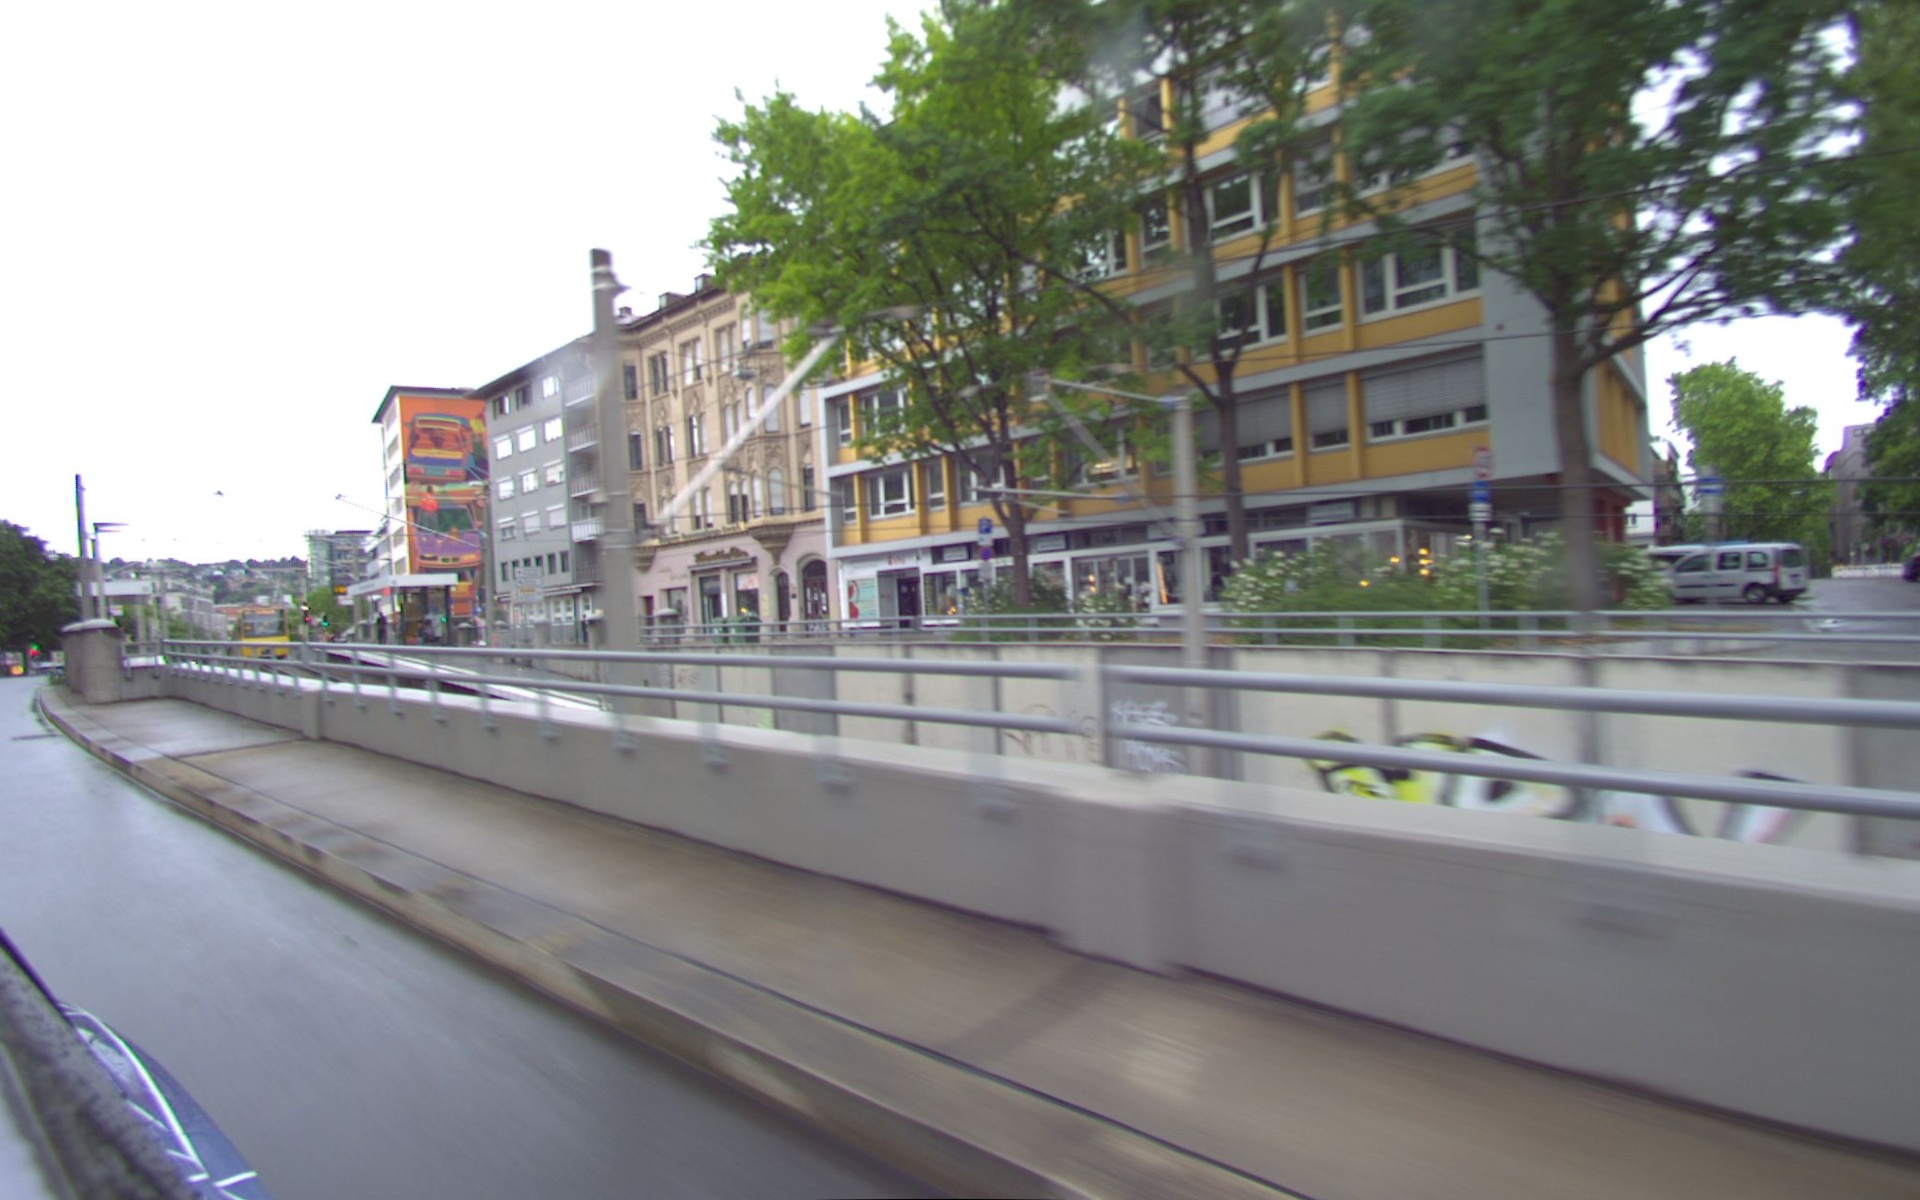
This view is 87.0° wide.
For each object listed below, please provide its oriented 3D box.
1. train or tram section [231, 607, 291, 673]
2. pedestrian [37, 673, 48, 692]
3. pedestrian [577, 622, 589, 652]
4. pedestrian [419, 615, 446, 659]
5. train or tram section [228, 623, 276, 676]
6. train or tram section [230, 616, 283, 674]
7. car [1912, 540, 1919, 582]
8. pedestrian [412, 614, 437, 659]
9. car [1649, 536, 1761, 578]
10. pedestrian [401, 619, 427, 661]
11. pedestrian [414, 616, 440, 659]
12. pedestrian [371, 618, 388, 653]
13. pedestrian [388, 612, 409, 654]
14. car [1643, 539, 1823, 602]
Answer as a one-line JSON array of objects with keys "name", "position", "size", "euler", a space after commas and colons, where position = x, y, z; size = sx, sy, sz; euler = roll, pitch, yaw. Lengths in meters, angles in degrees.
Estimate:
[{"name": "train or tram section", "position": [-46.498, 2.735, 67.206], "size": [2.743, 3.719, 9.735], "euler": [-5, -2, -37]}, {"name": "pedestrian", "position": [-81.679, 7.309, 90.073], "size": [0.551, 1.636, 0.486], "euler": [-5, -3, -34]}, {"name": "pedestrian", "position": [-21.643, 2.138, 58.081], "size": [0.415, 1.695, 0.609], "euler": [-4, -1, -29]}, {"name": "pedestrian", "position": [-20.663, 1.461, 39.671], "size": [0.761, 1.661, 0.779], "euler": [4, -5, -35]}, {"name": "train or tram section", "position": [-57.830, 4.097, 82.593], "size": [2.743, 3.719, 9.530], "euler": [-5, -2, -37]}, {"name": "train or tram section", "position": [-52.199, 3.425, 74.926], "size": [2.743, 3.719, 9.530], "euler": [-5, -2, -37]}, {"name": "car", "position": [40.244, -1.655, 41.412], "size": [1.671, 1.696, 4.014], "euler": [-2, 1, 41]}, {"name": "pedestrian", "position": [-20.469, 1.399, 38.665], "size": [0.668, 1.661, 0.898], "euler": [3, -4, -35]}, {"name": "car", "position": [35.681, -2.055, 48.519], "size": [1.802, 1.800, 4.006], "euler": [-3, 1, -41]}, {"name": "pedestrian", "position": [-22.068, 1.624, 40.900], "size": [0.761, 1.661, 0.779], "euler": [4, -5, -35]}, {"name": "pedestrian", "position": [-21.214, 1.512, 40.290], "size": [0.761, 1.661, 0.779], "euler": [4, -5, -35]}, {"name": "pedestrian", "position": [-26.711, 1.632, 46.583], "size": [0.550, 1.549, 0.518], "euler": [-3, 1, -39]}, {"name": "pedestrian", "position": [-23.339, 1.386, 42.073], "size": [0.624, 1.672, 0.684], "euler": [-3, -1, -36]}, {"name": "car", "position": [23.742, -0.861, 31.240], "size": [1.799, 1.800, 4.013], "euler": [-3, 1, -26]}]
